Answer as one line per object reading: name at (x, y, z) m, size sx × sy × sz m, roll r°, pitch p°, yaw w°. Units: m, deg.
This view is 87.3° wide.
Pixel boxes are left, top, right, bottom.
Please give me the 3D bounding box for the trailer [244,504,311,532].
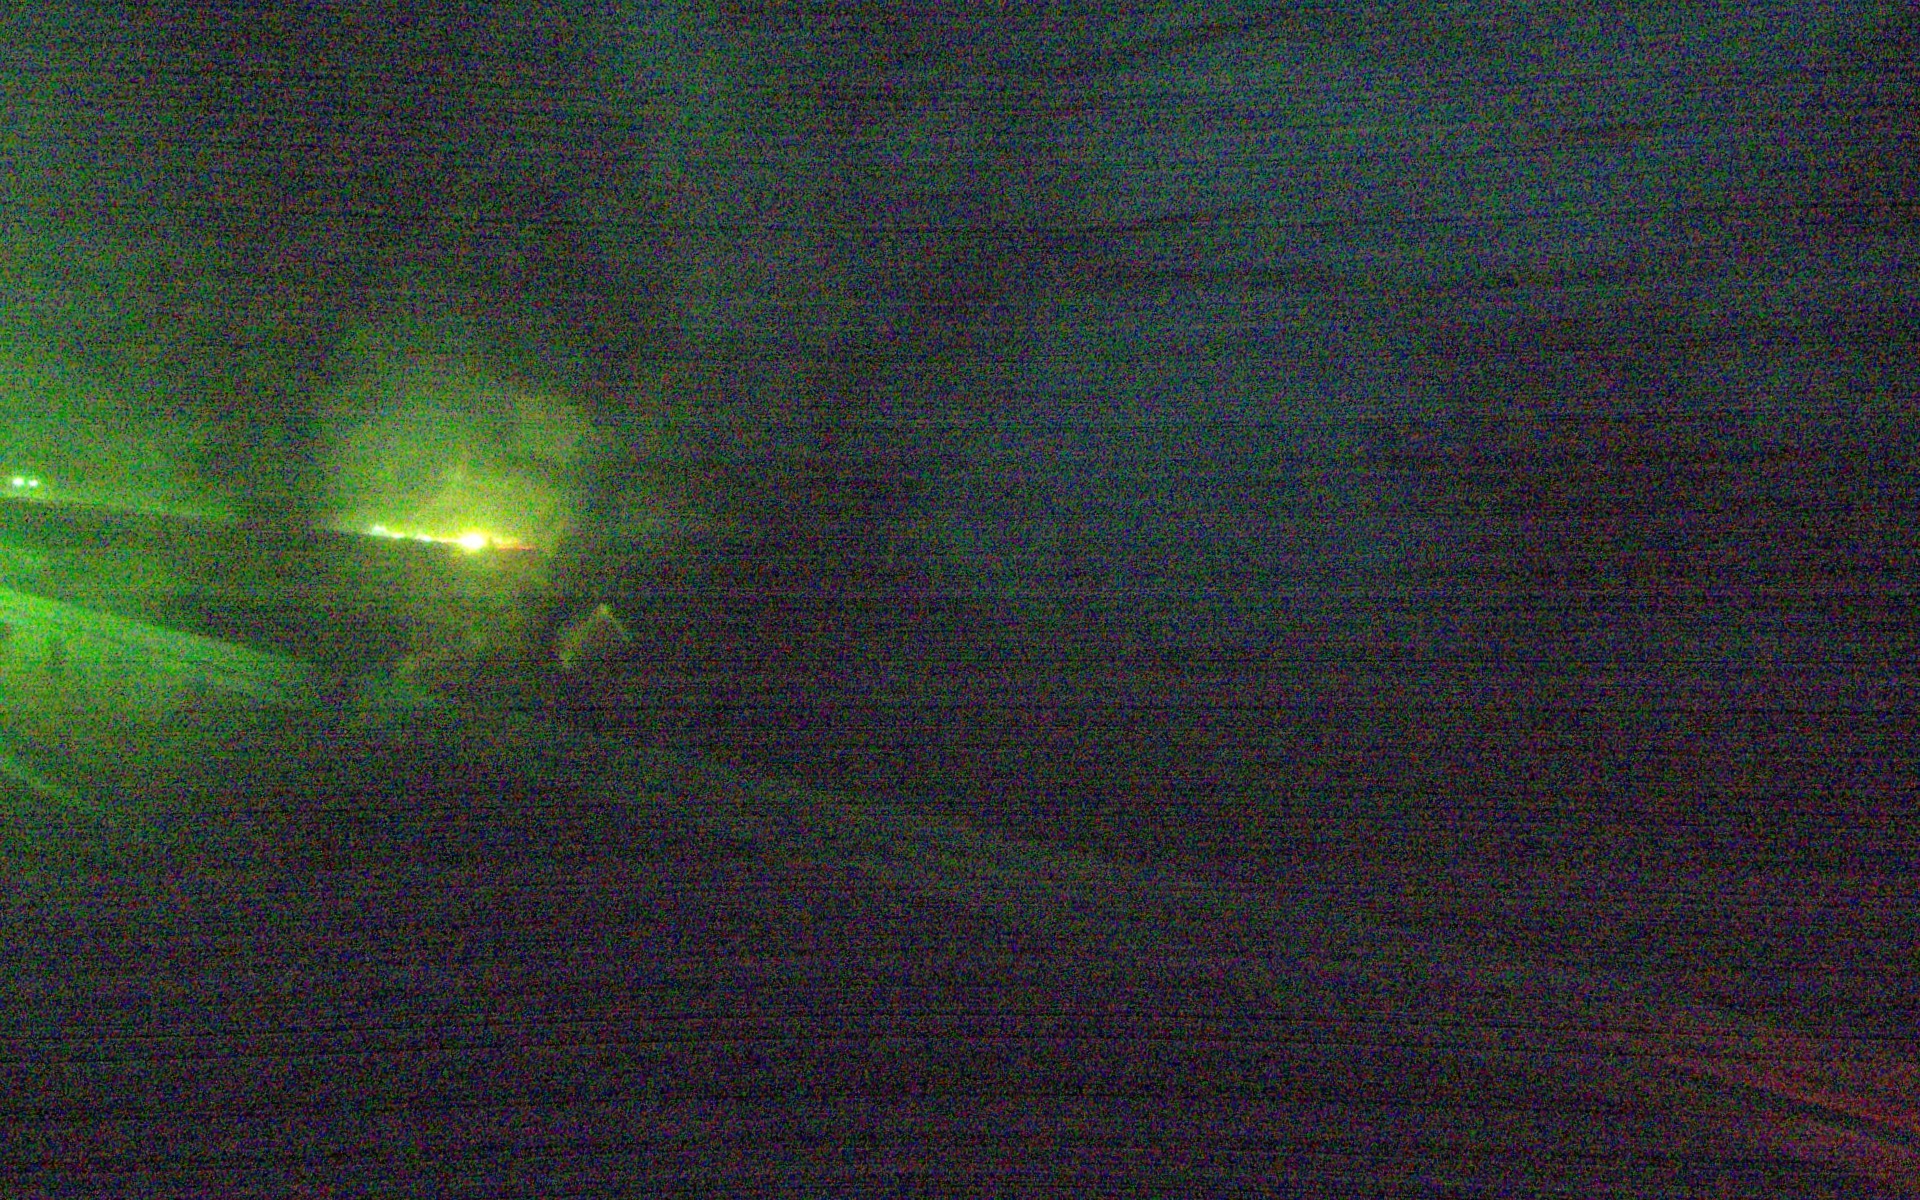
trailer at (-95.857, -11.447, 141.617) m, size 2.652 × 2.732 × 12.832 m, roll 7°, pitch -1°, yaw -11°
